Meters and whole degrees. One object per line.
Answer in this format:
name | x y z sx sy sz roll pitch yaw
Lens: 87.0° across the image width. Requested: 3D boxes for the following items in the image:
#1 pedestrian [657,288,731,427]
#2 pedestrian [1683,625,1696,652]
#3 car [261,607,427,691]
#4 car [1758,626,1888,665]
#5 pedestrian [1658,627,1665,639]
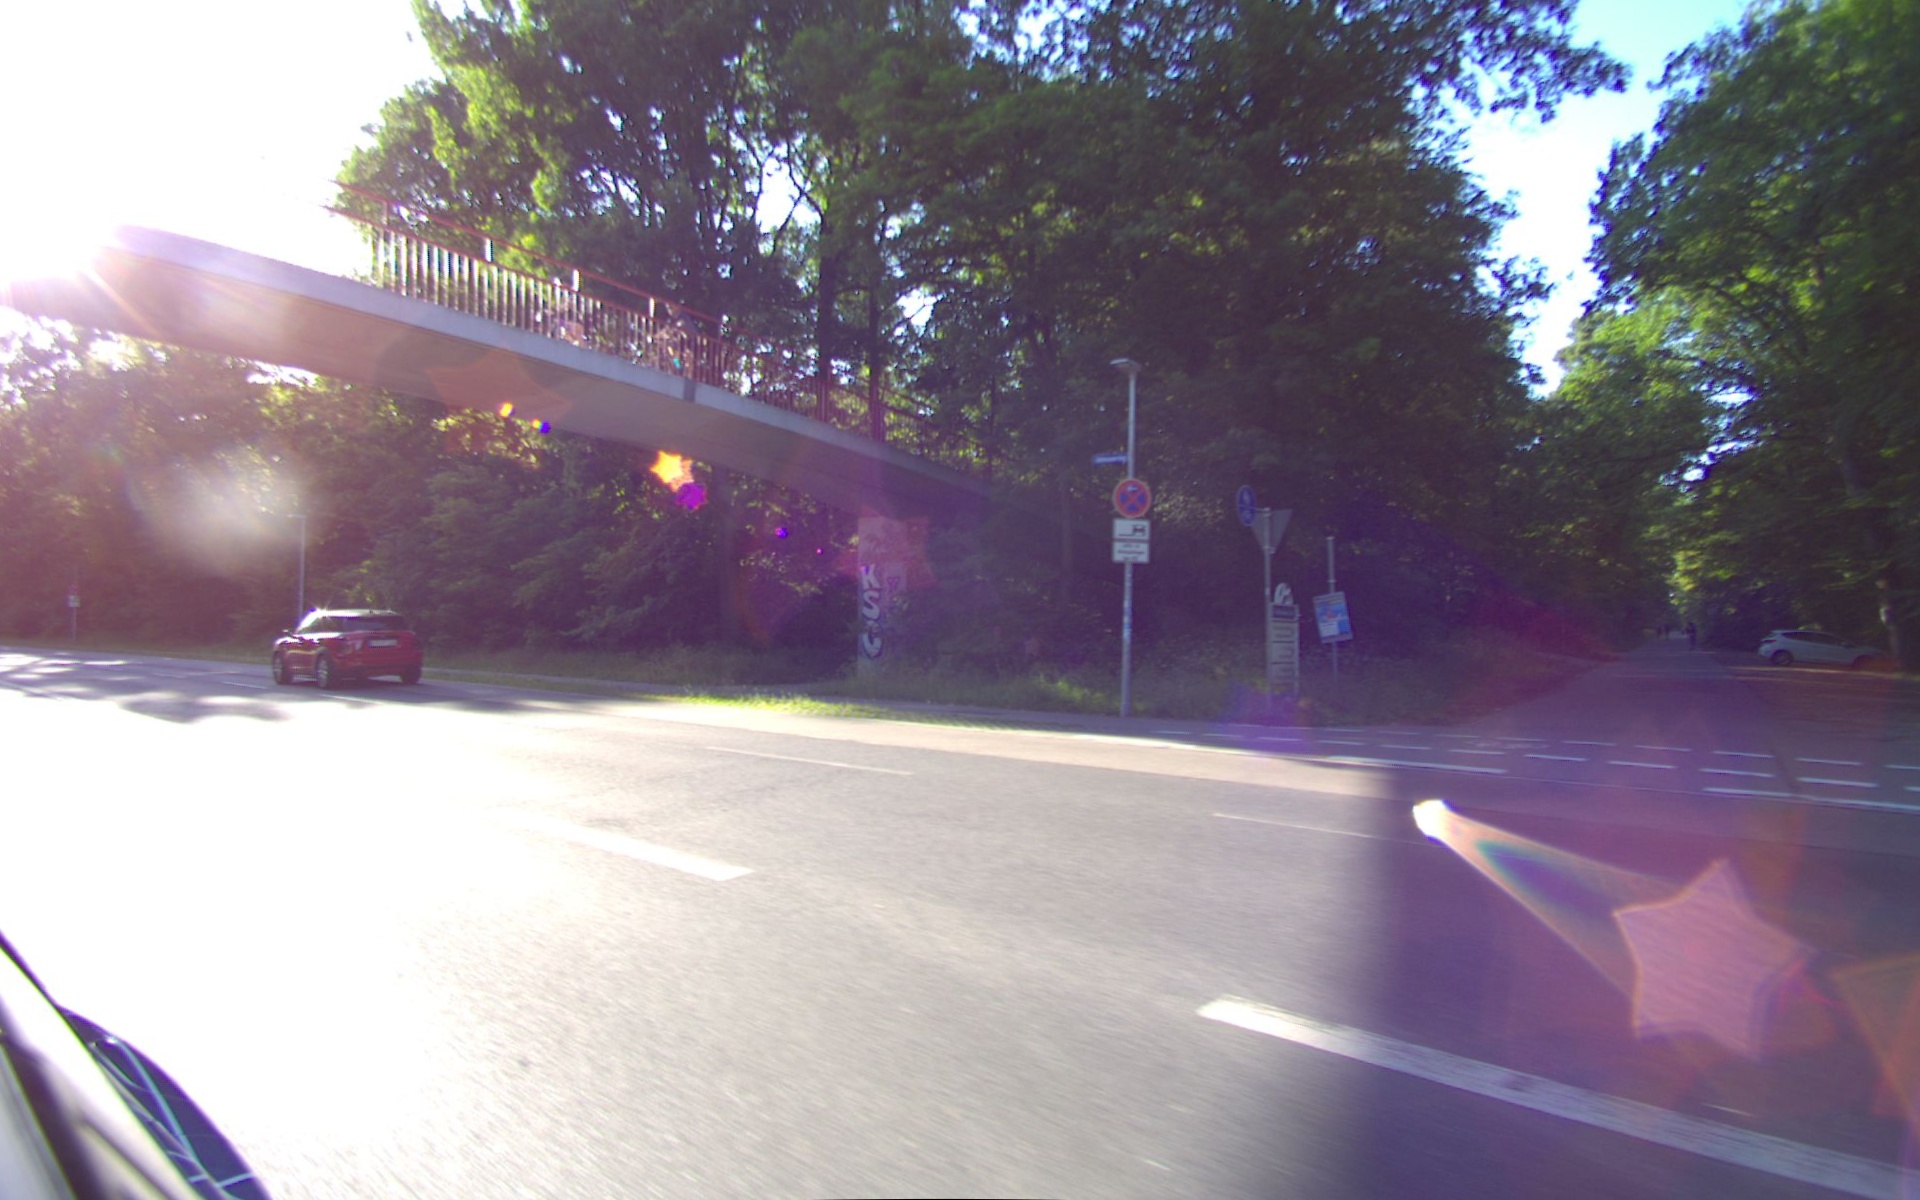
pedestrian | -5.018 -4.541 19.073 1.033 2.172 0.870 -14 -15 39
pedestrian | 46.303 2.423 64.206 0.584 1.696 0.448 -2 -2 43
car | -13.119 0.986 21.459 4.164 1.594 1.744 -1 -1 40
car | 33.433 1.746 39.340 3.709 1.456 1.579 -1 -2 38
pedestrian | 71.125 3.363 102.616 0.523 1.235 0.493 -1 -2 41
